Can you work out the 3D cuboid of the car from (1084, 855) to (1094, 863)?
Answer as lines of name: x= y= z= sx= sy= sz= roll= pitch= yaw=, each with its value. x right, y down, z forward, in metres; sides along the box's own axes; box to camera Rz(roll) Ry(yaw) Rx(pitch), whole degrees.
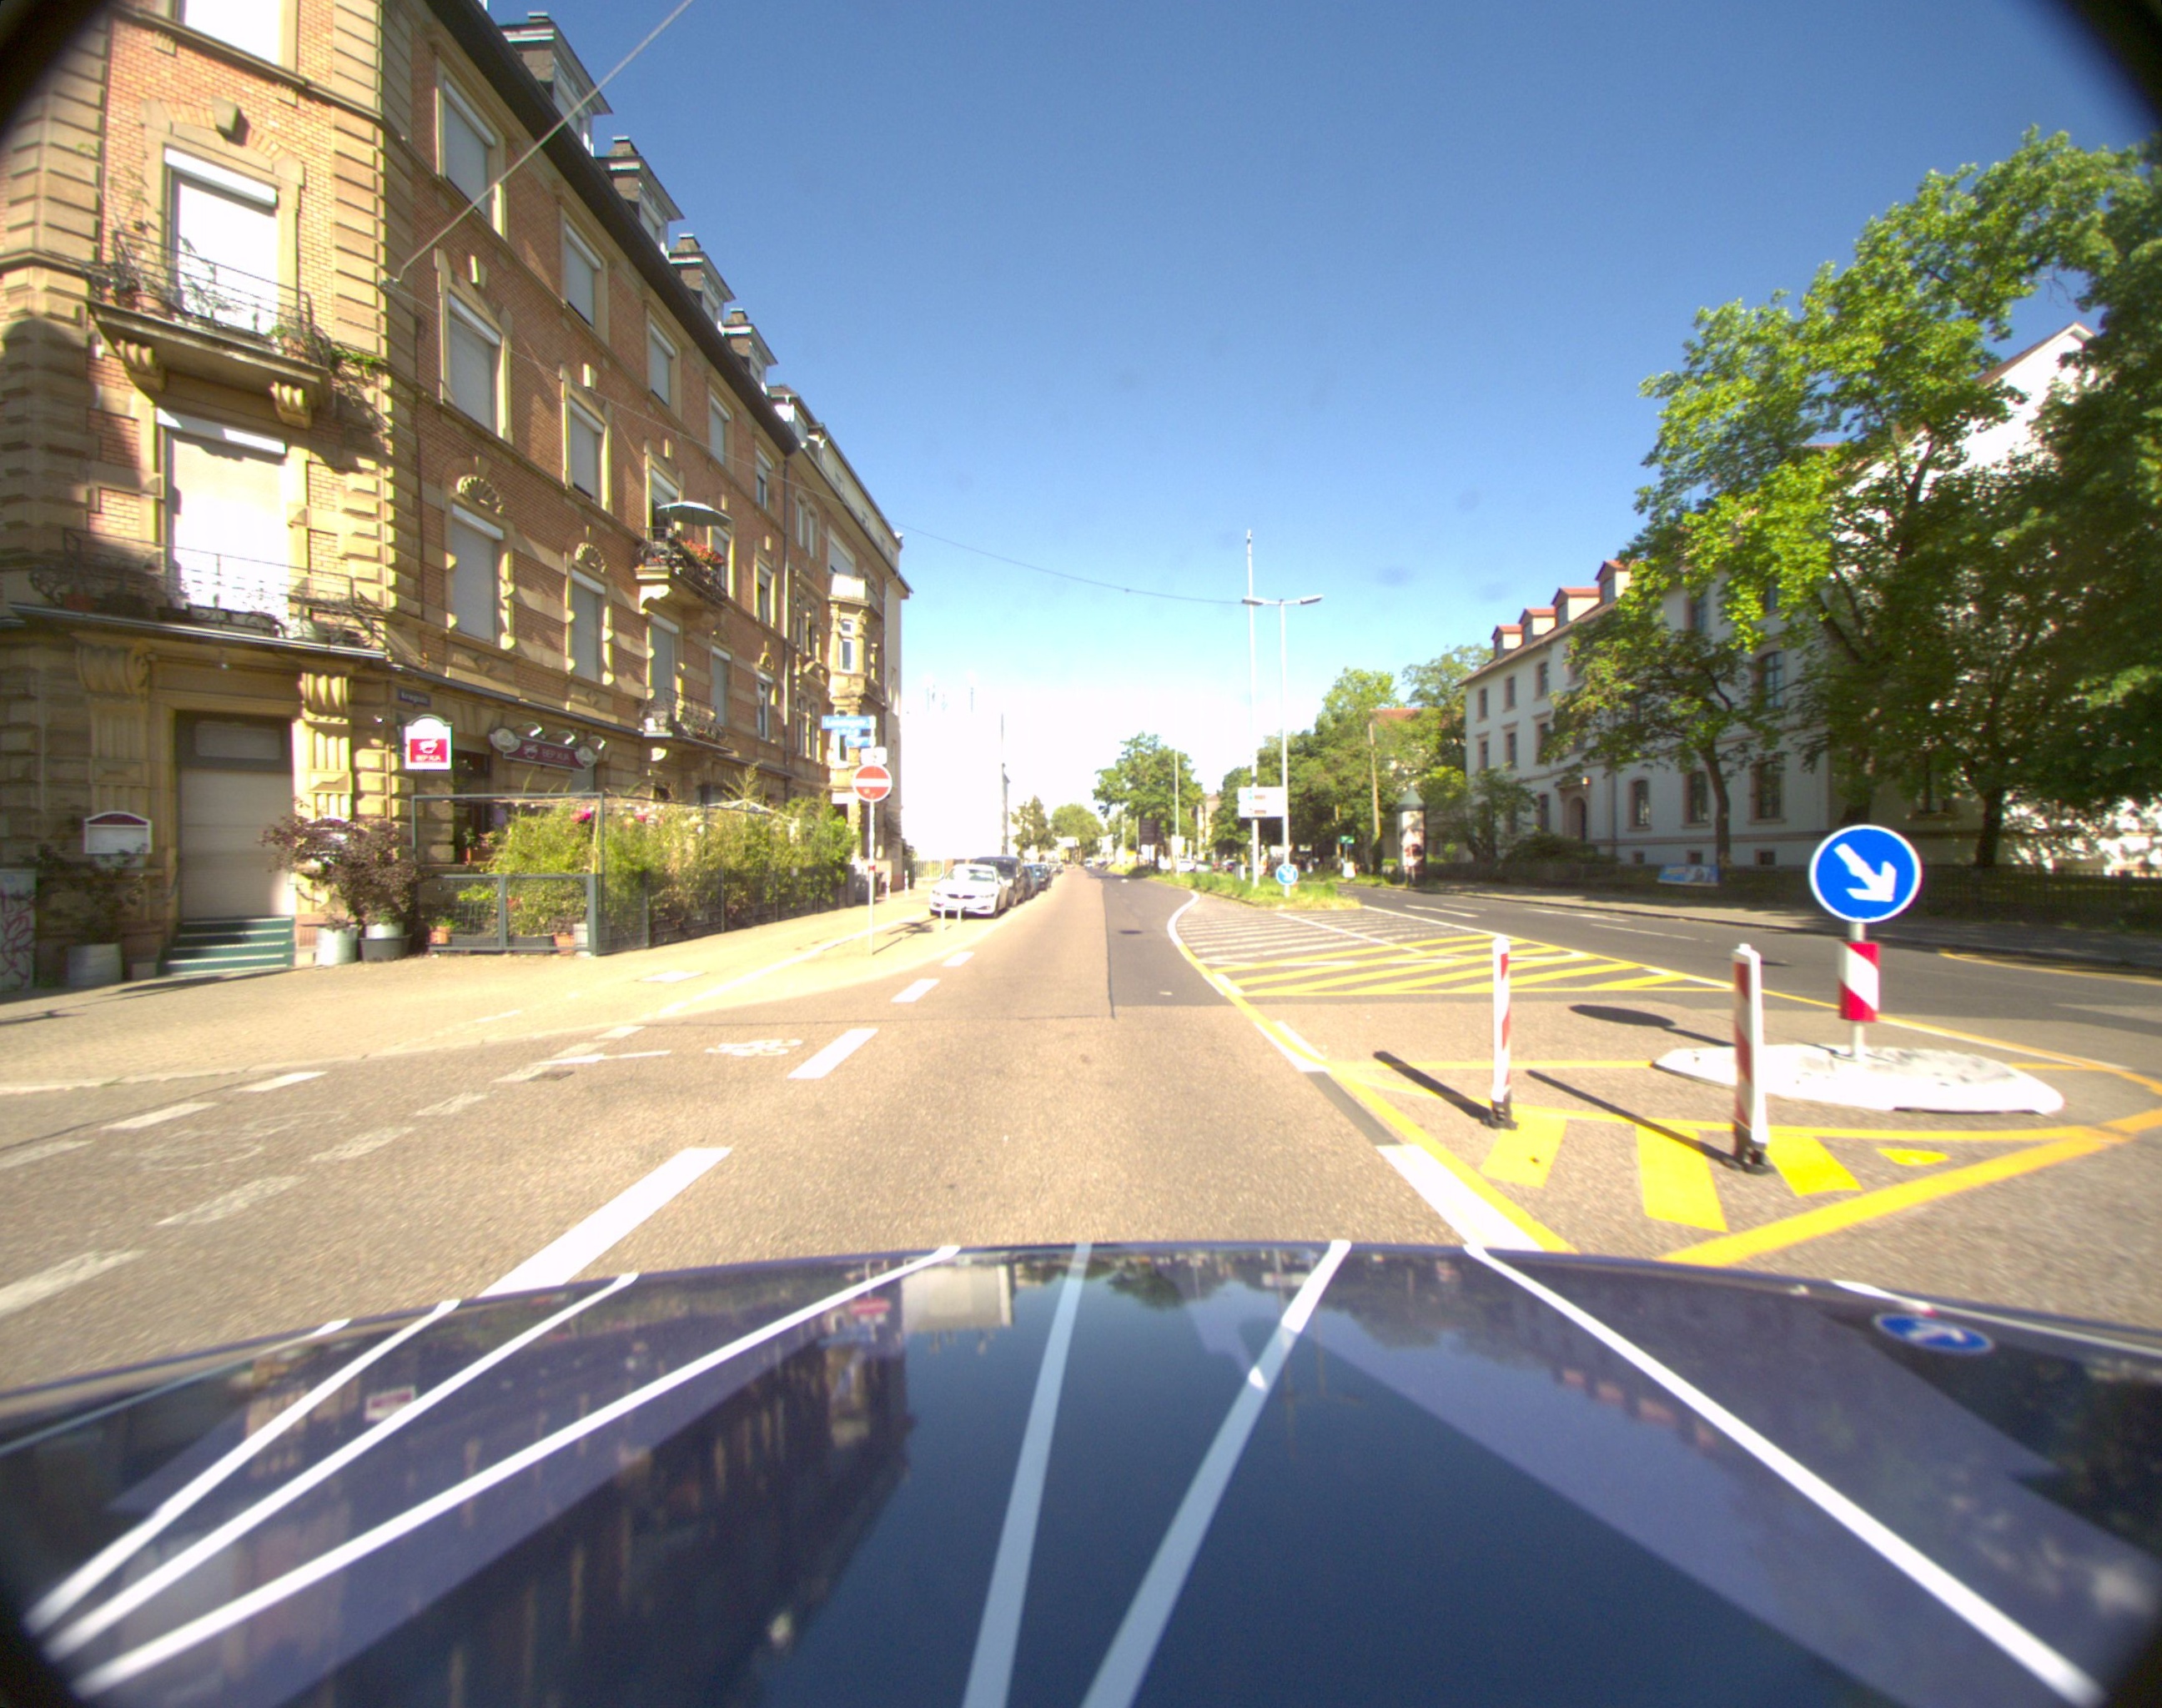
car: x=1.995 y=1.244 z=187.086 sx=1.882 sy=1.511 sz=4.000 roll=-2 pitch=3 yaw=6

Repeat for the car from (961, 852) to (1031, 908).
car: x=-2.984 y=0.879 z=27.451 sx=1.823 sy=1.833 sz=4.365 roll=-1 pitch=0 yaw=2

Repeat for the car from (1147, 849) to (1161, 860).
car: x=12.236 y=0.074 z=127.264 sx=1.800 sy=1.510 sz=4.256 roll=-2 pitch=2 yaw=0

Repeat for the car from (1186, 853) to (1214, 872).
car: x=10.003 y=0.706 z=64.038 sx=1.642 sy=1.510 sz=4.257 roll=-1 pitch=0 yaw=-1

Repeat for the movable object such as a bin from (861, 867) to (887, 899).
movable object such as a bin: x=-8.056 y=1.116 z=29.548 sx=0.760 sy=1.150 sz=0.608 roll=-2 pitch=4 yaw=2

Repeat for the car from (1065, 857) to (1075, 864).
car: x=-2.689 y=1.582 z=185.565 sx=1.882 sy=1.510 sz=4.001 roll=-2 pitch=1 yaw=6

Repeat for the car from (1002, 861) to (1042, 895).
car: x=-2.781 y=1.131 z=36.579 sx=1.626 sy=1.462 sz=3.298 roll=-4 pitch=0 yaw=-1

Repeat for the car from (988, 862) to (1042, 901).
car: x=-2.709 y=1.104 z=32.140 sx=1.672 sy=1.459 sz=4.275 roll=-2 pitch=0 yaw=2

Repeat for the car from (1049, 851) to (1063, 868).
car: x=-3.191 y=0.667 z=96.604 sx=1.664 sy=2.002 sz=4.775 roll=0 pitch=1 yaw=0

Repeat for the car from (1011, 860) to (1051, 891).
car: x=-2.613 y=1.111 z=40.836 sx=1.940 sy=1.510 sz=4.483 roll=-1 pitch=0 yaw=-1

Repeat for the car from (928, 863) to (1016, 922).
car: x=-3.019 y=1.017 z=21.839 sx=1.713 sy=1.417 sz=4.206 roll=2 pitch=0 yaw=2

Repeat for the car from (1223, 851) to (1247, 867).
car: x=15.899 y=0.534 z=78.607 sx=1.799 sy=1.510 sz=4.424 roll=-2 pitch=1 yaw=4

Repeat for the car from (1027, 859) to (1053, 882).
car: x=-2.848 y=1.120 z=52.806 sx=1.672 sy=1.510 sz=3.660 roll=-1 pitch=0 yaw=-3

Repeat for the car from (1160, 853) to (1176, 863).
car: x=12.605 y=0.560 z=110.746 sx=1.843 sy=1.510 sz=4.666 roll=-1 pitch=0 yaw=1

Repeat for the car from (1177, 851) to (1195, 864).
car: x=12.753 y=0.392 z=92.452 sx=1.905 sy=1.616 sz=4.538 roll=0 pitch=0 yaw=5

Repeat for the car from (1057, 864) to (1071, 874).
car: x=-2.632 y=2.332 z=118.017 sx=1.641 sy=1.439 sz=4.158 roll=-1 pitch=-1 yaw=6
